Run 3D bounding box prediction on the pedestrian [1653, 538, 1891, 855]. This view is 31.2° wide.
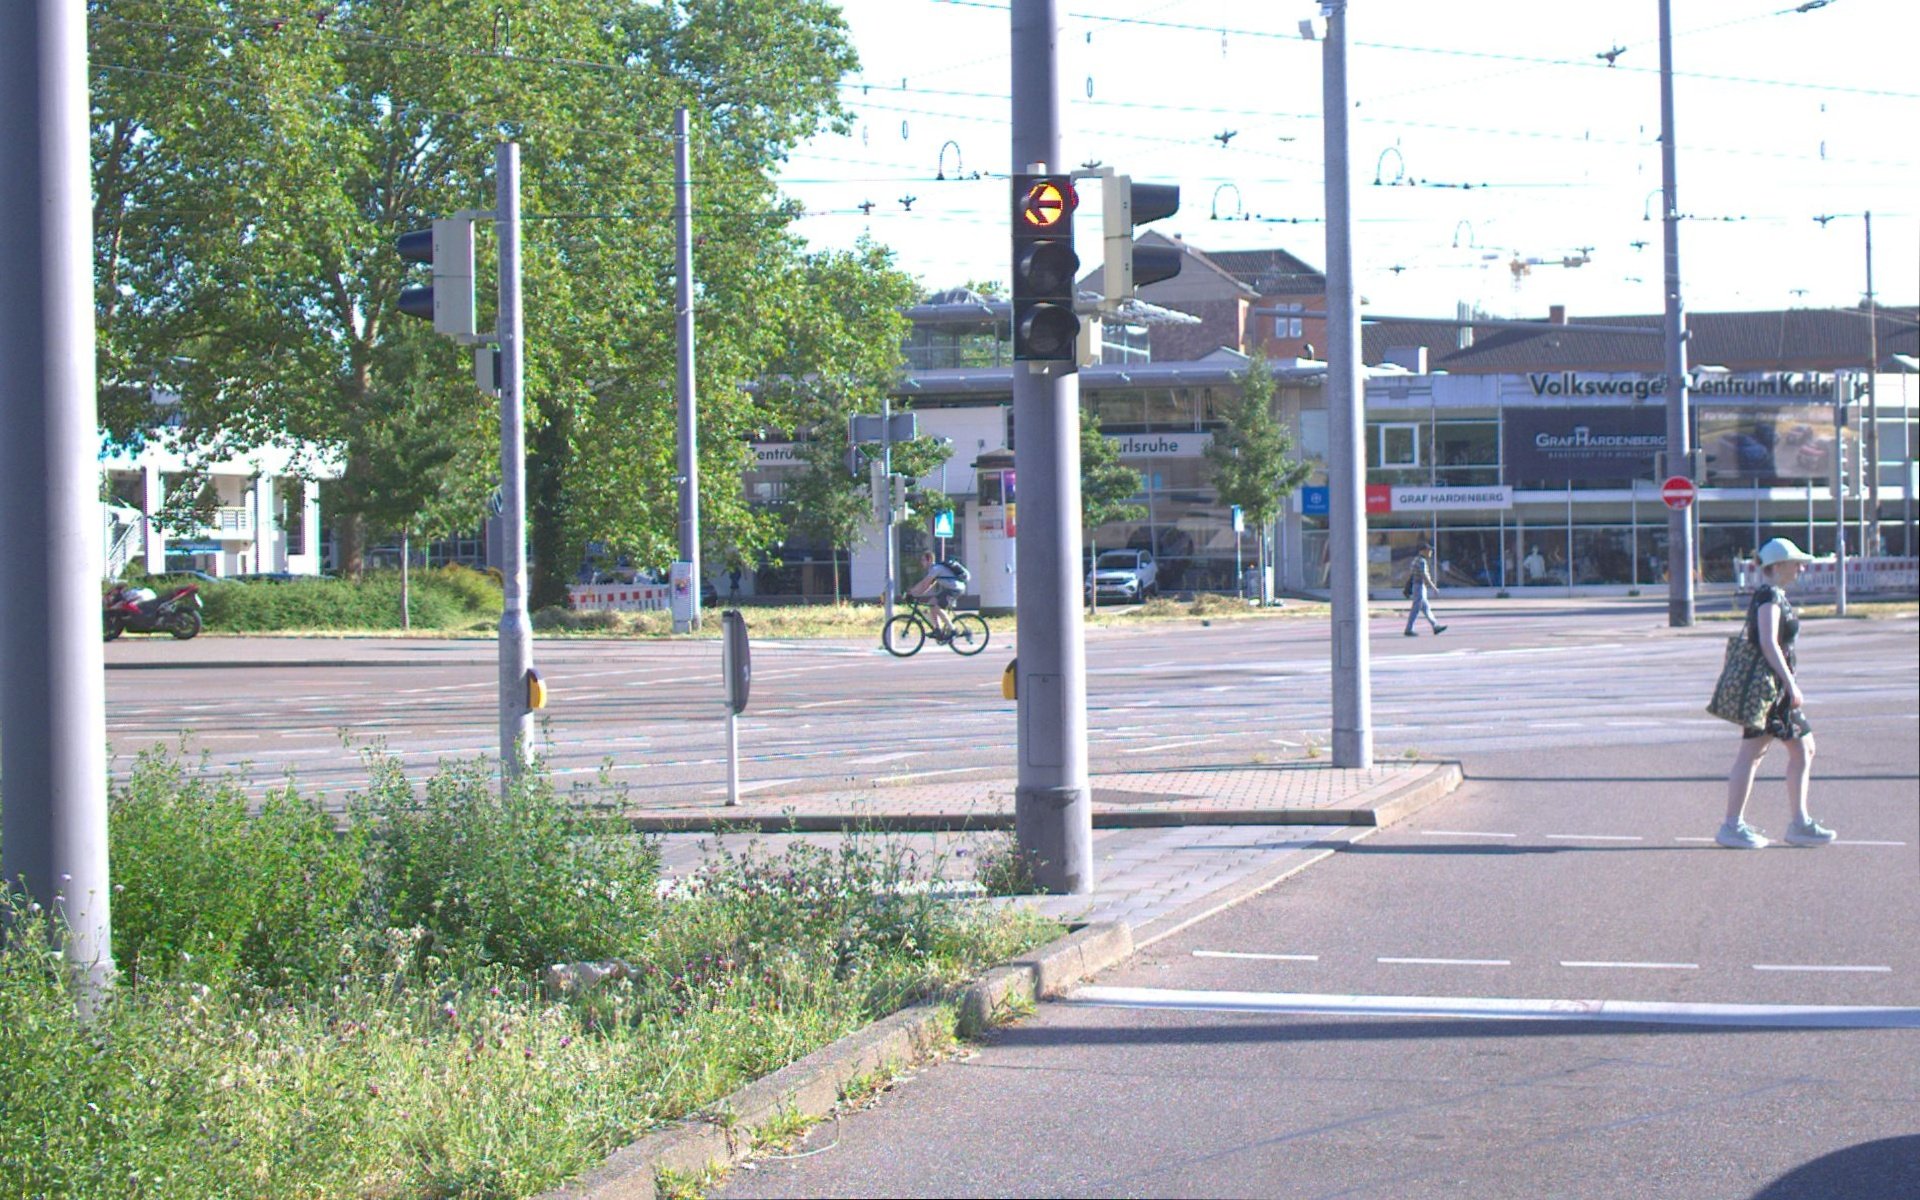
[{"bbox_3d":[4.228,0.488,17.964,1.093,1.601,0.699,0,2,4],"label":"pedestrian"}]

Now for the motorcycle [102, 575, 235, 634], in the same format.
[{"bbox_3d":[-14.571,0.075,63.309,2.284,1.050,0.687,0,2,1],"label":"motorcycle"}]

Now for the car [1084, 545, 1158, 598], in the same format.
[{"bbox_3d":[5.174,-0.934,110.093,1.994,1.529,3.999,0,3,8],"label":"car"}]

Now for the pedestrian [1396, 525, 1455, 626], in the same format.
[{"bbox_3d":[8.470,-0.454,62.562,0.990,1.810,0.919,0,3,12],"label":"pedestrian"}]

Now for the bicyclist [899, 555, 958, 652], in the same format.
[{"bbox_3d":[-0.518,0.052,55.835,0.923,1.554,0.963,-1,1,-2],"label":"bicyclist"}]

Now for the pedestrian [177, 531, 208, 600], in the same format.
[{"bbox_3d":[-22.407,-1.006,100.375,0.589,2.007,0.710,0,1,14],"label":"pedestrian"}]

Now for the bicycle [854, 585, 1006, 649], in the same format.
[{"bbox_3d":[-0.492,0.269,55.843,2.438,1.000,0.963,-1,1,-1],"label":"bicycle"}]
